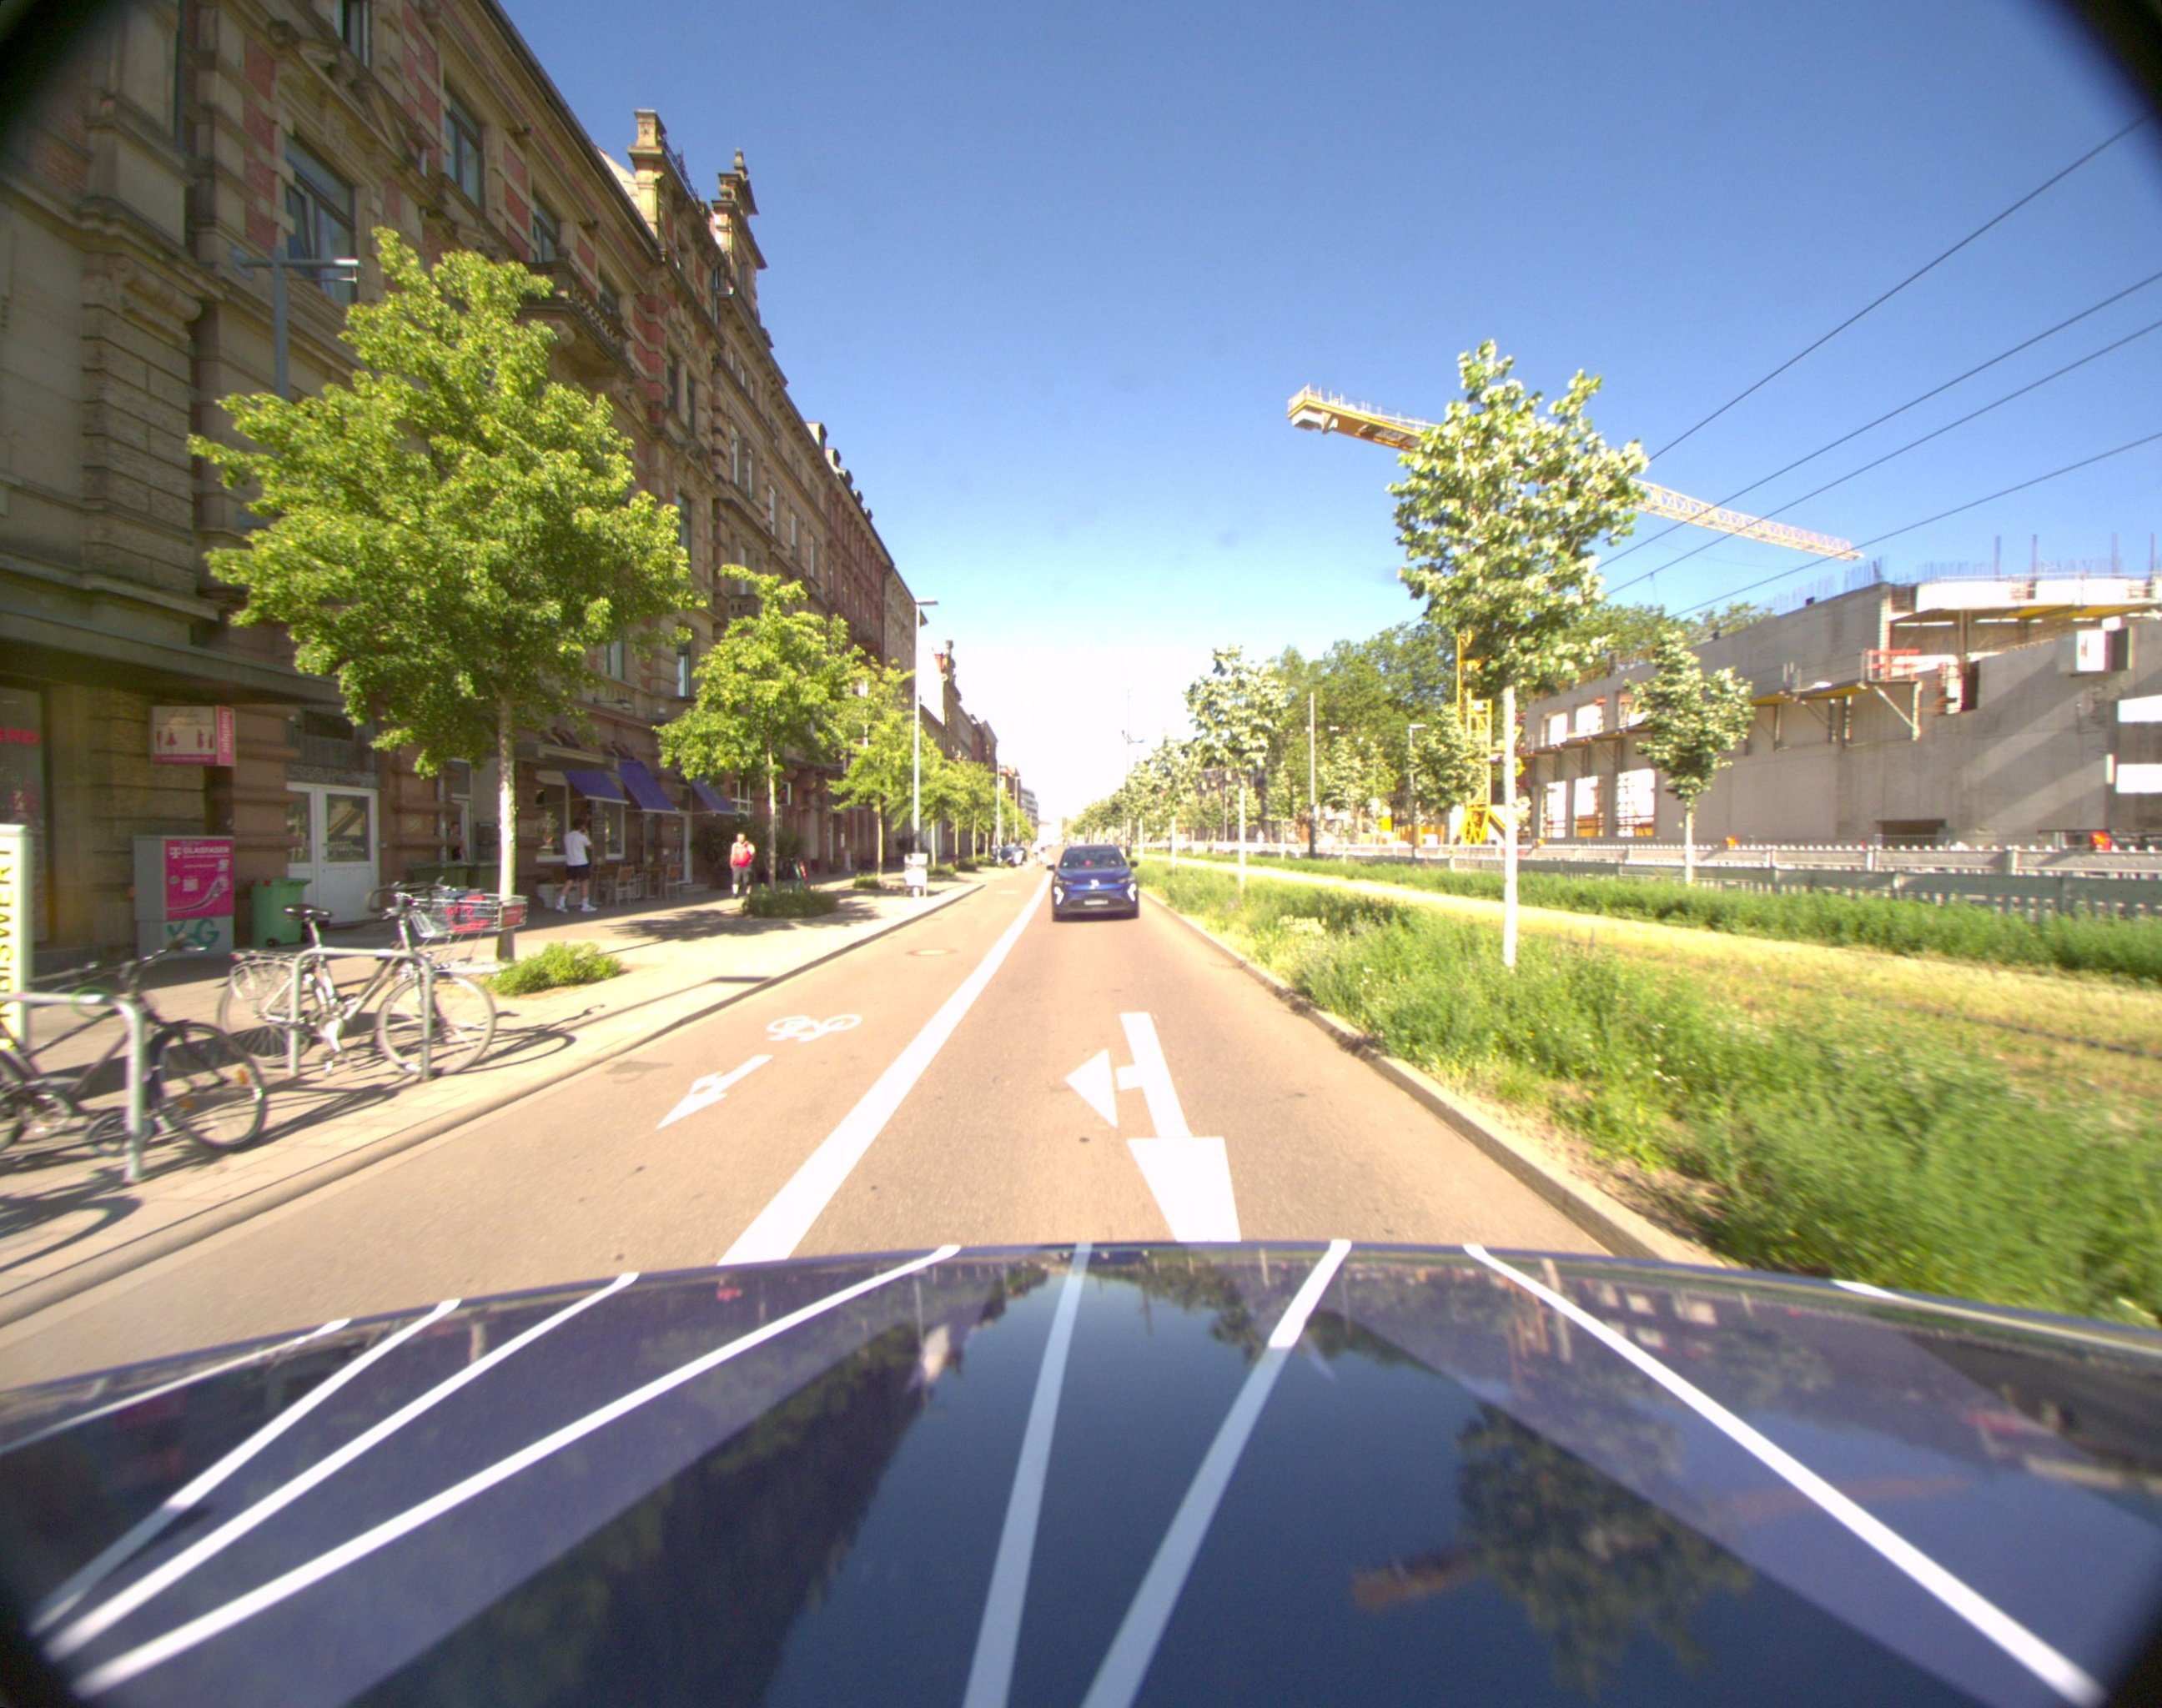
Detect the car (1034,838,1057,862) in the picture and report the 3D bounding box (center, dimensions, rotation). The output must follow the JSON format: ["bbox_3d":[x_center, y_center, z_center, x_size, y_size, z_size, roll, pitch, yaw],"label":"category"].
[{"bbox_3d":[-2.916,-0.363,63.120,1.669,1.787,3.748,-3,2,0],"label":"car"}]

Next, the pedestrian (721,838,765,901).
[{"bbox_3d":[-8.706,0.392,19.616,0.753,1.575,0.808,2,2,0],"label":"pedestrian"}]

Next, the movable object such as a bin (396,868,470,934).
[{"bbox_3d":[-10.540,0.753,12.370,0.692,1.007,0.587,1,2,4],"label":"movable object such as a bin"}]

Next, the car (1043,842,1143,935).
[{"bbox_3d":[0.235,0.613,15.923,1.749,1.613,4.152,-3,1,0],"label":"car"}]

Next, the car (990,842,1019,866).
[{"bbox_3d":[-5.521,-0.026,55.381,1.669,1.575,3.748,-3,2,0],"label":"car"}]

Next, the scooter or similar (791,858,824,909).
[{"bbox_3d":[-6.650,0.707,18.490,0.672,1.213,0.327,0,2,22],"label":"scooter or similar"}]

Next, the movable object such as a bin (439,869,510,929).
[{"bbox_3d":[-10.429,0.763,13.079,0.692,0.969,0.587,-1,2,4],"label":"movable object such as a bin"}]

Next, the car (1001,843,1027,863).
[{"bbox_3d":[-5.400,-0.096,61.545,1.669,1.453,3.748,-3,2,0],"label":"car"}]

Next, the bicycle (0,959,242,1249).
[{"bbox_3d":[-4.976,1.069,3.372,1.668,1.104,0.602,2,2,-8],"label":"bicycle"}]

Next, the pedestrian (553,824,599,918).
[{"bbox_3d":[-10.072,0.333,15.177,0.512,1.839,0.501,-1,2,8],"label":"pedestrian"}]

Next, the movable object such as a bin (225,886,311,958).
[{"bbox_3d":[-10.559,0.870,9.881,0.606,0.861,0.476,1,2,4],"label":"movable object such as a bin"}]

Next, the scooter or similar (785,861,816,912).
[{"bbox_3d":[-6.582,0.755,17.828,0.636,1.166,0.290,0,2,22],"label":"scooter or similar"}]

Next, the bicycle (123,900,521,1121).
[{"bbox_3d":[-4.879,0.983,4.982,1.869,1.245,0.691,2,2,-1],"label":"bicycle"}]
